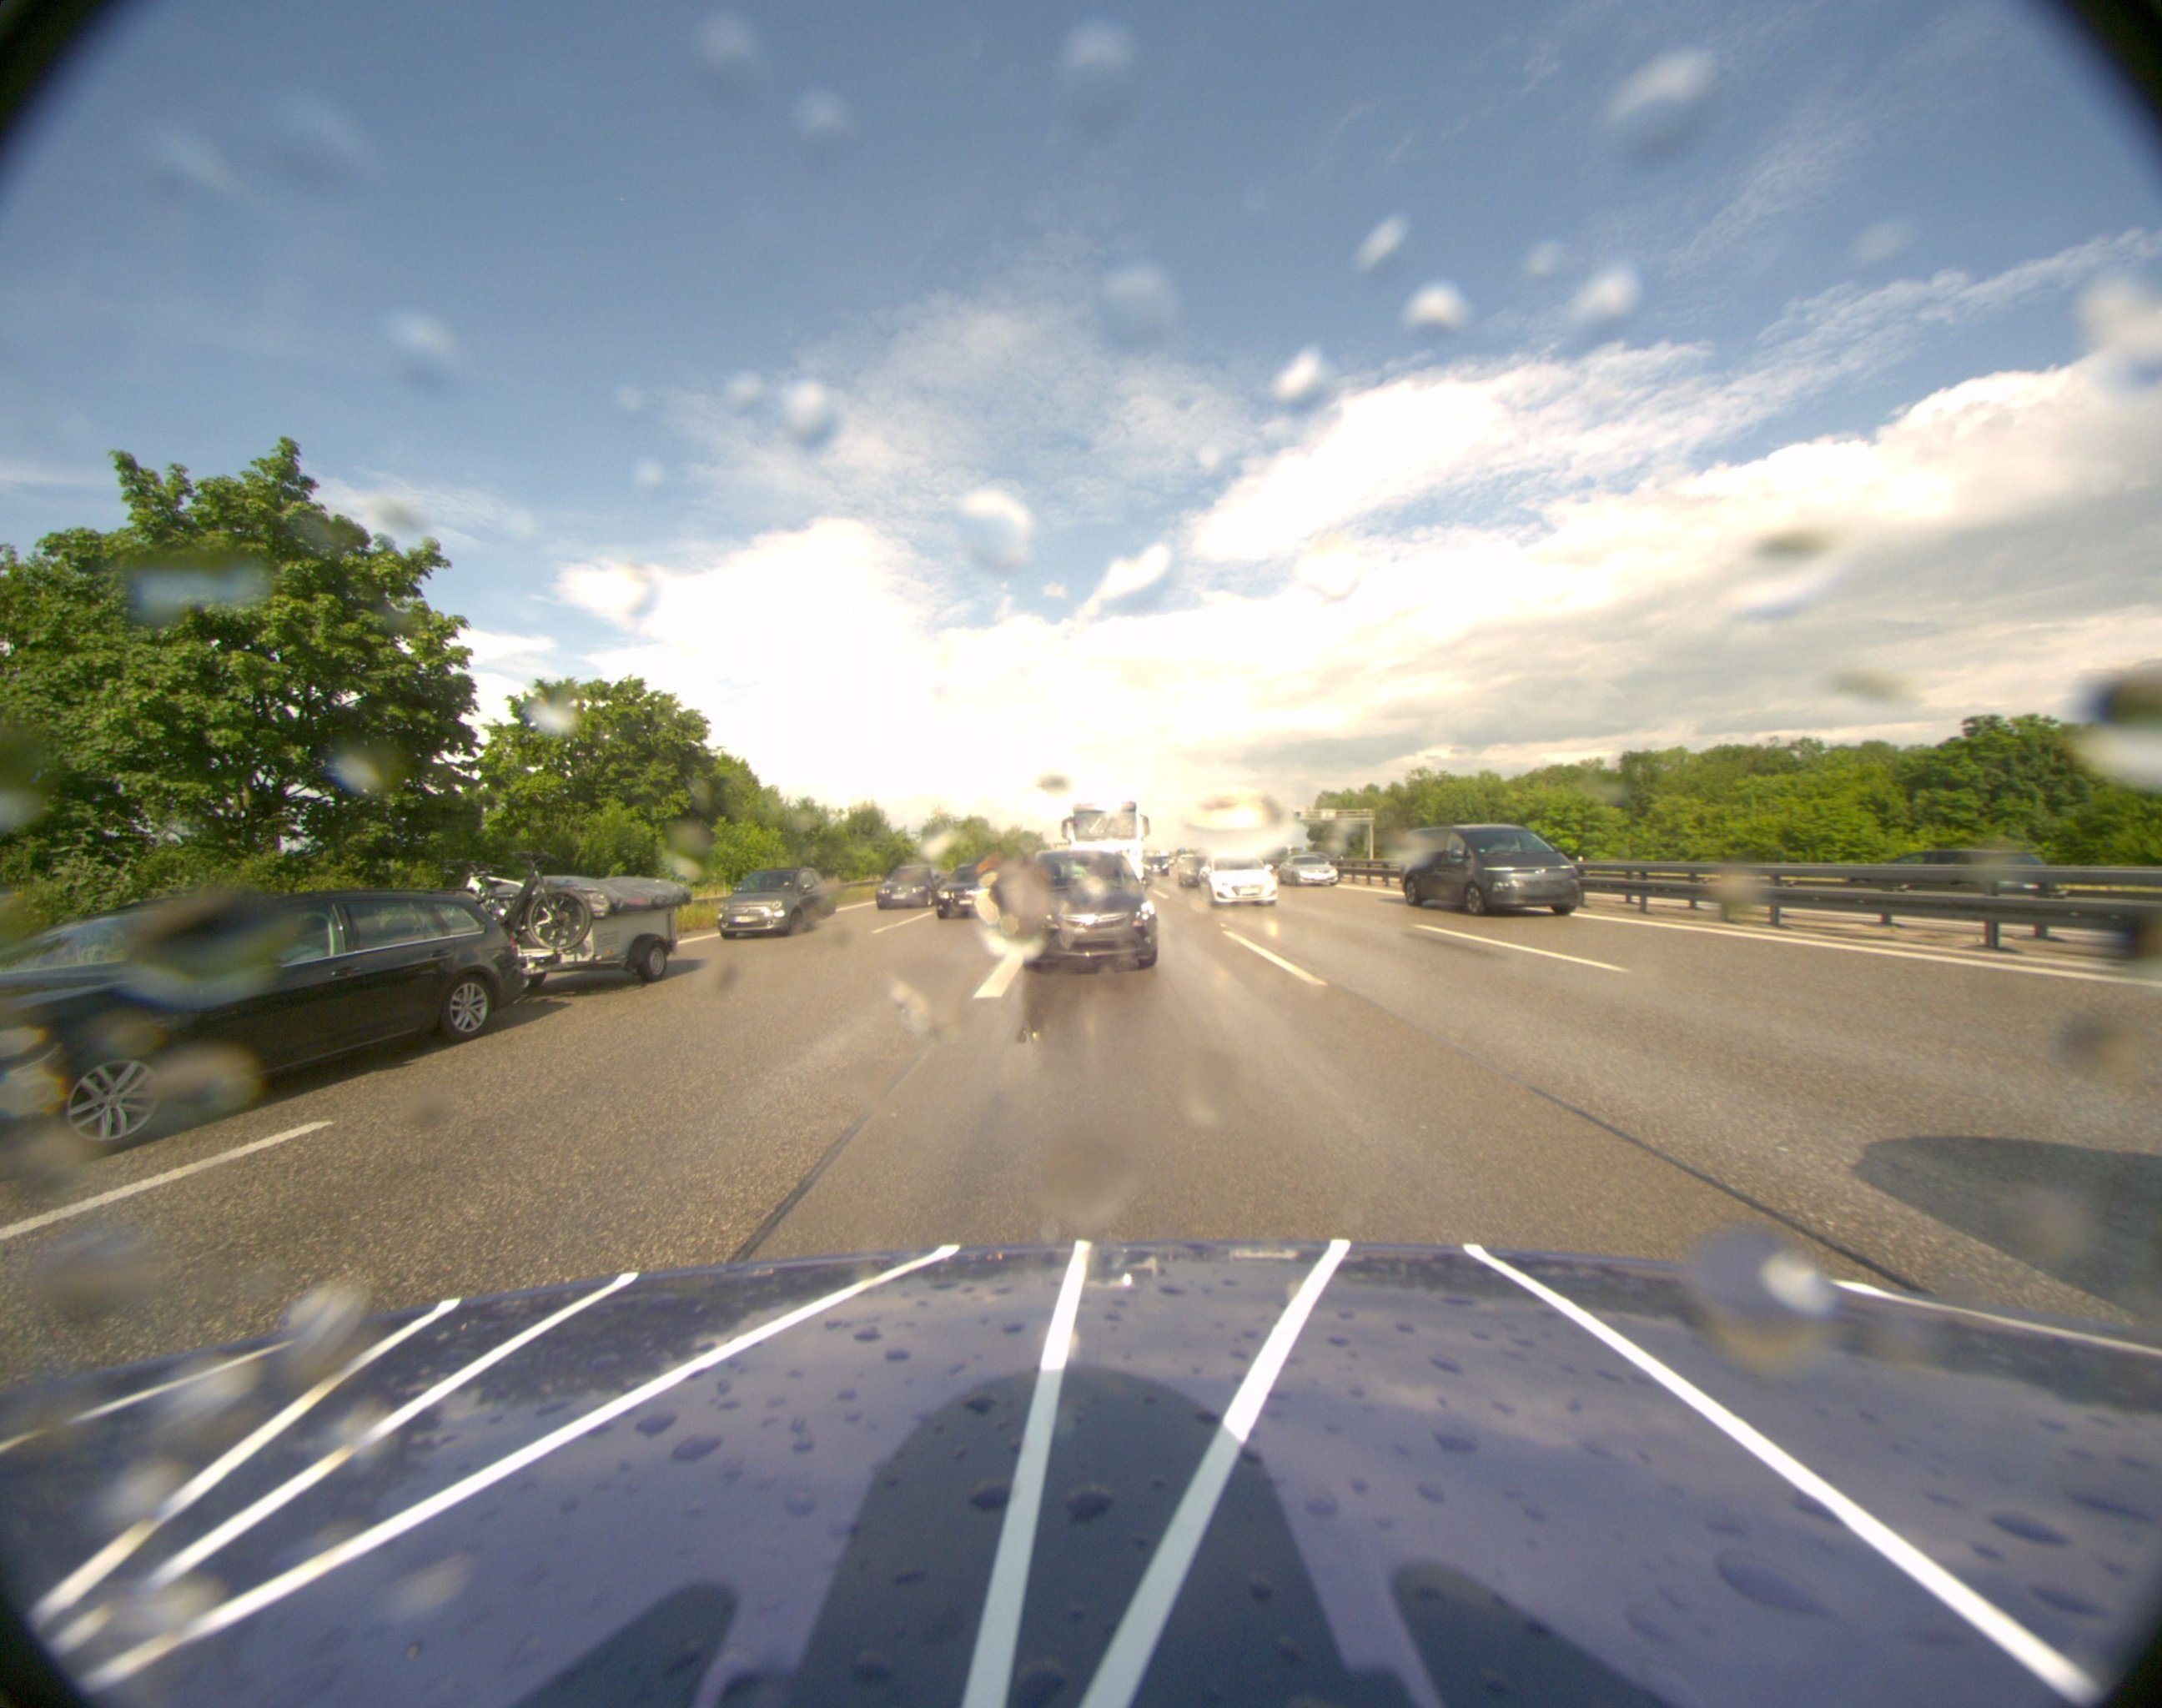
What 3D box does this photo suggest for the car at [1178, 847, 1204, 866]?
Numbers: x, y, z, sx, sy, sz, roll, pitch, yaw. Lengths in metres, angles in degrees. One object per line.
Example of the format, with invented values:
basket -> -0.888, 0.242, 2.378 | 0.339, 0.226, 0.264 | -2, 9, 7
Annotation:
car -> 10.898, 0.261, 75.372 | 1.900, 1.739, 4.000 | -2, 0, 0

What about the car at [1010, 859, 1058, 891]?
car -> -2.174, 0.967, 36.120 | 1.743, 1.357, 4.001 | -2, 0, 3

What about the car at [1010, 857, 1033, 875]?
car -> -5.748, 1.145, 73.487 | 1.868, 1.565, 4.000 | -2, 0, 0

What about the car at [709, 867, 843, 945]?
car -> -6.848, 1.111, 17.441 | 1.616, 1.480, 3.481 | -2, 0, 0

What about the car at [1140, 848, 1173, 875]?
car -> 5.247, 0.498, 53.399 | 1.889, 1.707, 4.000 | -2, 0, 0

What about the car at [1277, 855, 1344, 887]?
car -> 9.574, 0.676, 31.993 | 1.856, 1.182, 3.583 | -2, 0, 3

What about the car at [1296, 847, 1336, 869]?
car -> 17.650, 0.288, 57.259 | 1.804, 1.535, 4.000 | -2, 0, 1

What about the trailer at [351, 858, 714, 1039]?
trailer -> -6.535, 0.969, 9.729 | 1.811, 1.736, 3.966 | -3, 0, -3

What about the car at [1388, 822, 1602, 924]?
car -> 9.004, 0.360, 17.193 | 1.998, 1.906, 5.236 | -2, 0, 1

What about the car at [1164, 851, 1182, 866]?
car -> 11.822, 0.552, 97.843 | 1.900, 1.739, 4.000 | -2, 0, 0

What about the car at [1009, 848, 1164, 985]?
car -> -0.044, 0.765, 11.696 | 1.859, 1.622, 4.734 | -2, 0, -3

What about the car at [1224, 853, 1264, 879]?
car -> 9.718, 0.701, 45.516 | 1.618, 1.412, 4.000 | -2, 0, 1

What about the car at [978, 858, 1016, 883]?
car -> -5.497, 1.083, 50.469 | 1.998, 1.481, 4.249 | -2, 0, 0

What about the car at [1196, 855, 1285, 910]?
car -> 4.503, 0.743, 22.025 | 1.809, 1.389, 4.240 | -1, 0, 2

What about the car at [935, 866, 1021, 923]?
car -> -2.776, 1.063, 21.250 | 1.722, 1.346, 3.884 | -2, 0, 1

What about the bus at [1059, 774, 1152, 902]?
bus -> 0.933, -0.526, 29.859 | 2.904, 4.104, 9.845 | -2, 0, 1

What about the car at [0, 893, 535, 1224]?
car -> -6.346, 1.141, 5.517 | 1.748, 1.422, 4.403 | -2, 0, -4

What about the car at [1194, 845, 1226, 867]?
car -> 10.688, 0.172, 63.065 | 1.900, 1.739, 4.000 | -2, 0, 0

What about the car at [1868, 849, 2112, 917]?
car -> 23.866, 0.687, 20.221 | 1.736, 1.583, 4.000 | -2, 0, 1

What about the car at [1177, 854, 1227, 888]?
car -> 5.276, 0.708, 33.628 | 1.597, 1.390, 4.000 | -2, 0, 1

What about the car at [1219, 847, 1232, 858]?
car -> 28.314, -0.259, 149.144 | 1.998, 2.002, 4.364 | -2, 0, 4

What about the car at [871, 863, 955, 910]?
car -> -5.773, 1.072, 26.660 | 1.771, 1.343, 4.580 | -2, 0, 2
